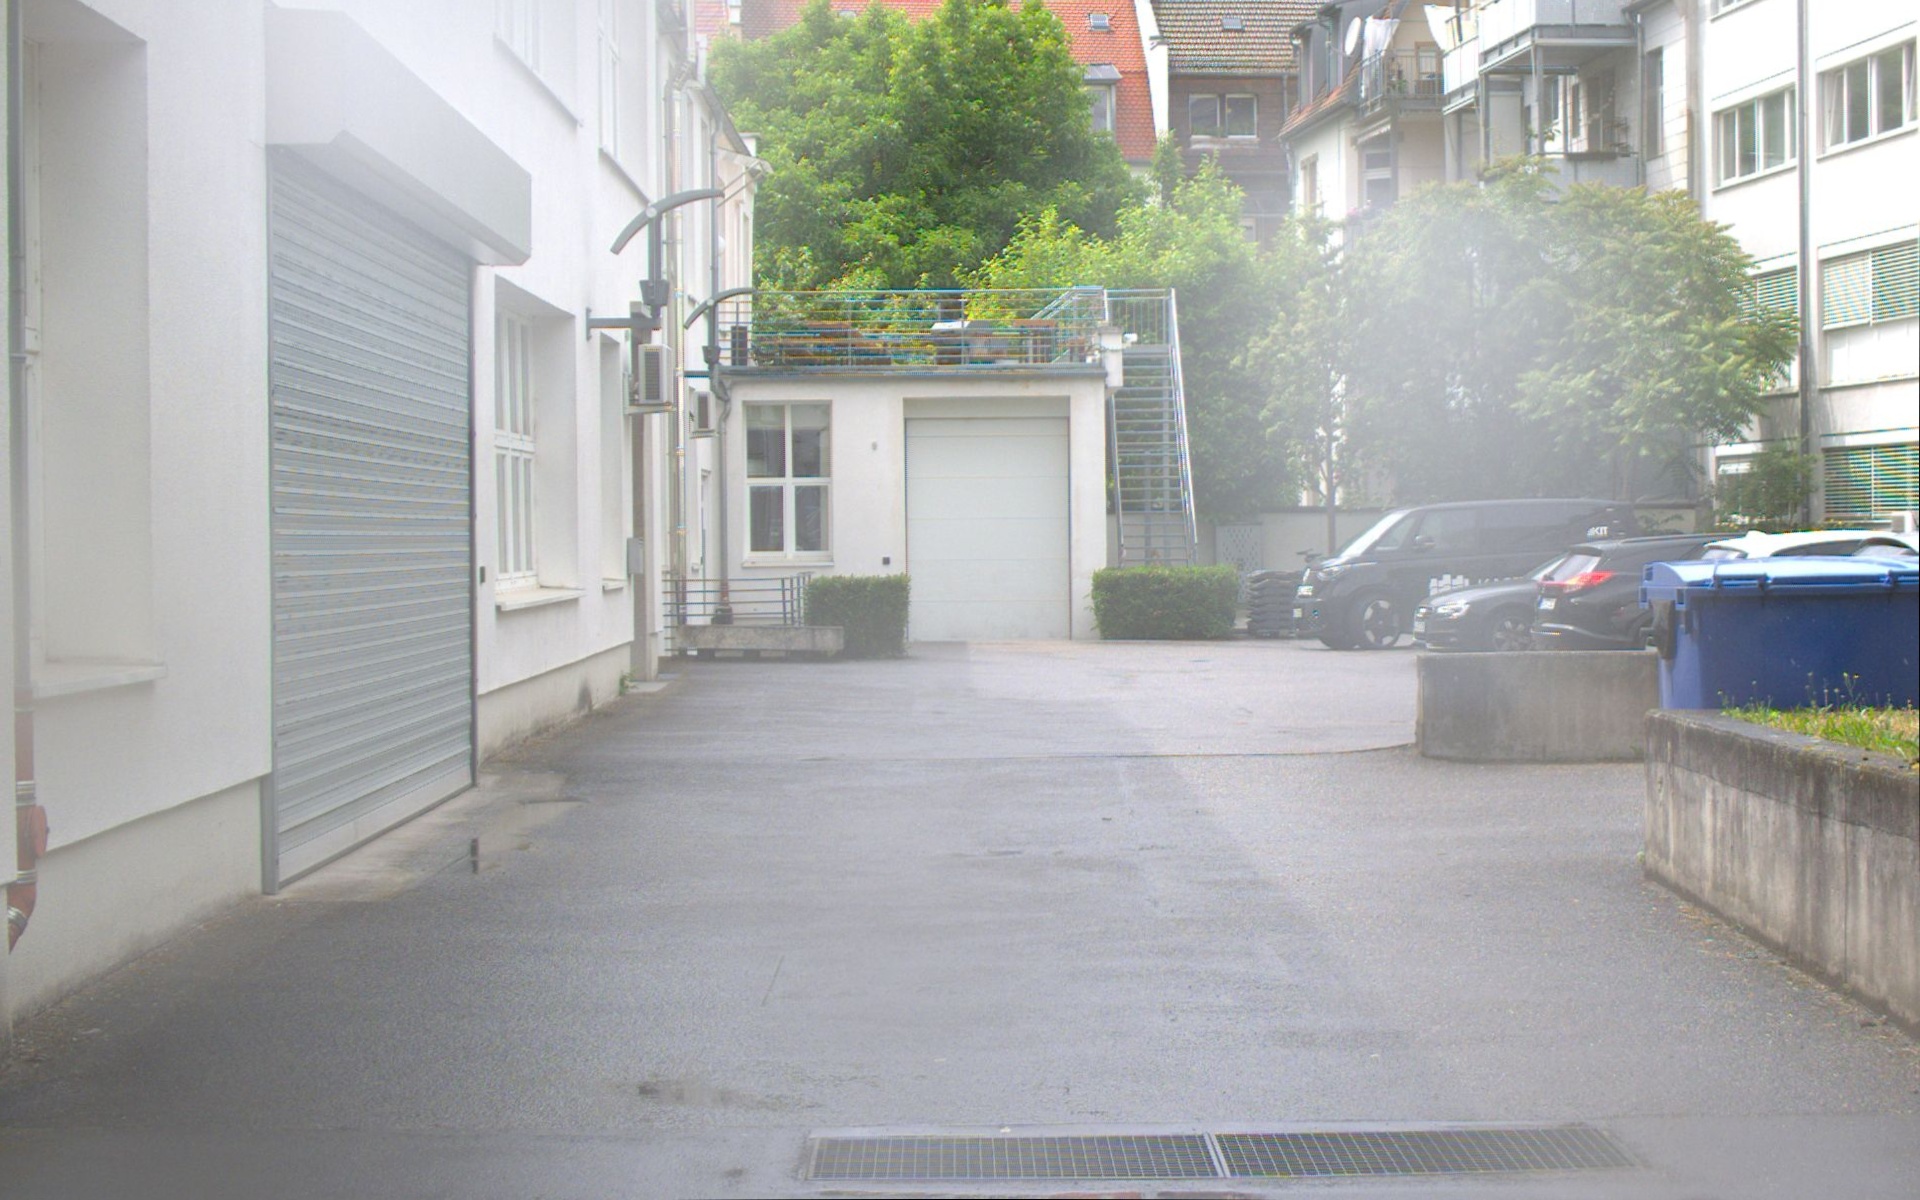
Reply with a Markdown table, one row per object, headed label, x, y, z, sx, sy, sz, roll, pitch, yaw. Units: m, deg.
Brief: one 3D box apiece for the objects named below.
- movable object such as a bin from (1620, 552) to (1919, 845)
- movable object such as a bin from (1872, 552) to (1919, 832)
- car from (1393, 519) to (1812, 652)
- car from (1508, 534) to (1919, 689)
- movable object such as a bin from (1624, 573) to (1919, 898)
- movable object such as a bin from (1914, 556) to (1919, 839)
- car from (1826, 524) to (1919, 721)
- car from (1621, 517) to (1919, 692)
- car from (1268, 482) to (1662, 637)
| label | x | y | z | sx | sy | sz | roll | pitch | yaw |
| --- | --- | --- | --- | --- | --- | --- | --- | --- | --- |
| movable object such as a bin | 3.933 | 0.455 | 16.662 | 1.229 | 1.313 | 1.056 | -2 | 2 | -1 |
| movable object such as a bin | 5.210 | 0.431 | 16.730 | 1.229 | 1.313 | 1.056 | -2 | 2 | -1 |
| car | 7.346 | -0.187 | 39.534 | 4.352 | 1.344 | 1.861 | -2 | 2 | -7 |
| car | 7.896 | 0.090 | 34.965 | 4.169 | 1.396 | 1.940 | -2 | 1 | -7 |
| movable object such as a bin | 3.578 | 0.562 | 14.866 | 1.174 | 1.313 | 1.056 | 0 | 2 | -1 |
| movable object such as a bin | 4.924 | 0.354 | 14.821 | 1.275 | 1.478 | 1.102 | 0 | 2 | -1 |
| car | 8.928 | 0.096 | 26.371 | 4.079 | 1.453 | 1.668 | -2 | 1 | -4 |
| car | 8.333 | -0.005 | 31.480 | 4.097 | 1.450 | 1.833 | -2 | 2 | -4 |
| car | 6.618 | -0.554 | 45.340 | 4.708 | 1.827 | 2.111 | -2 | 2 | -7 |
